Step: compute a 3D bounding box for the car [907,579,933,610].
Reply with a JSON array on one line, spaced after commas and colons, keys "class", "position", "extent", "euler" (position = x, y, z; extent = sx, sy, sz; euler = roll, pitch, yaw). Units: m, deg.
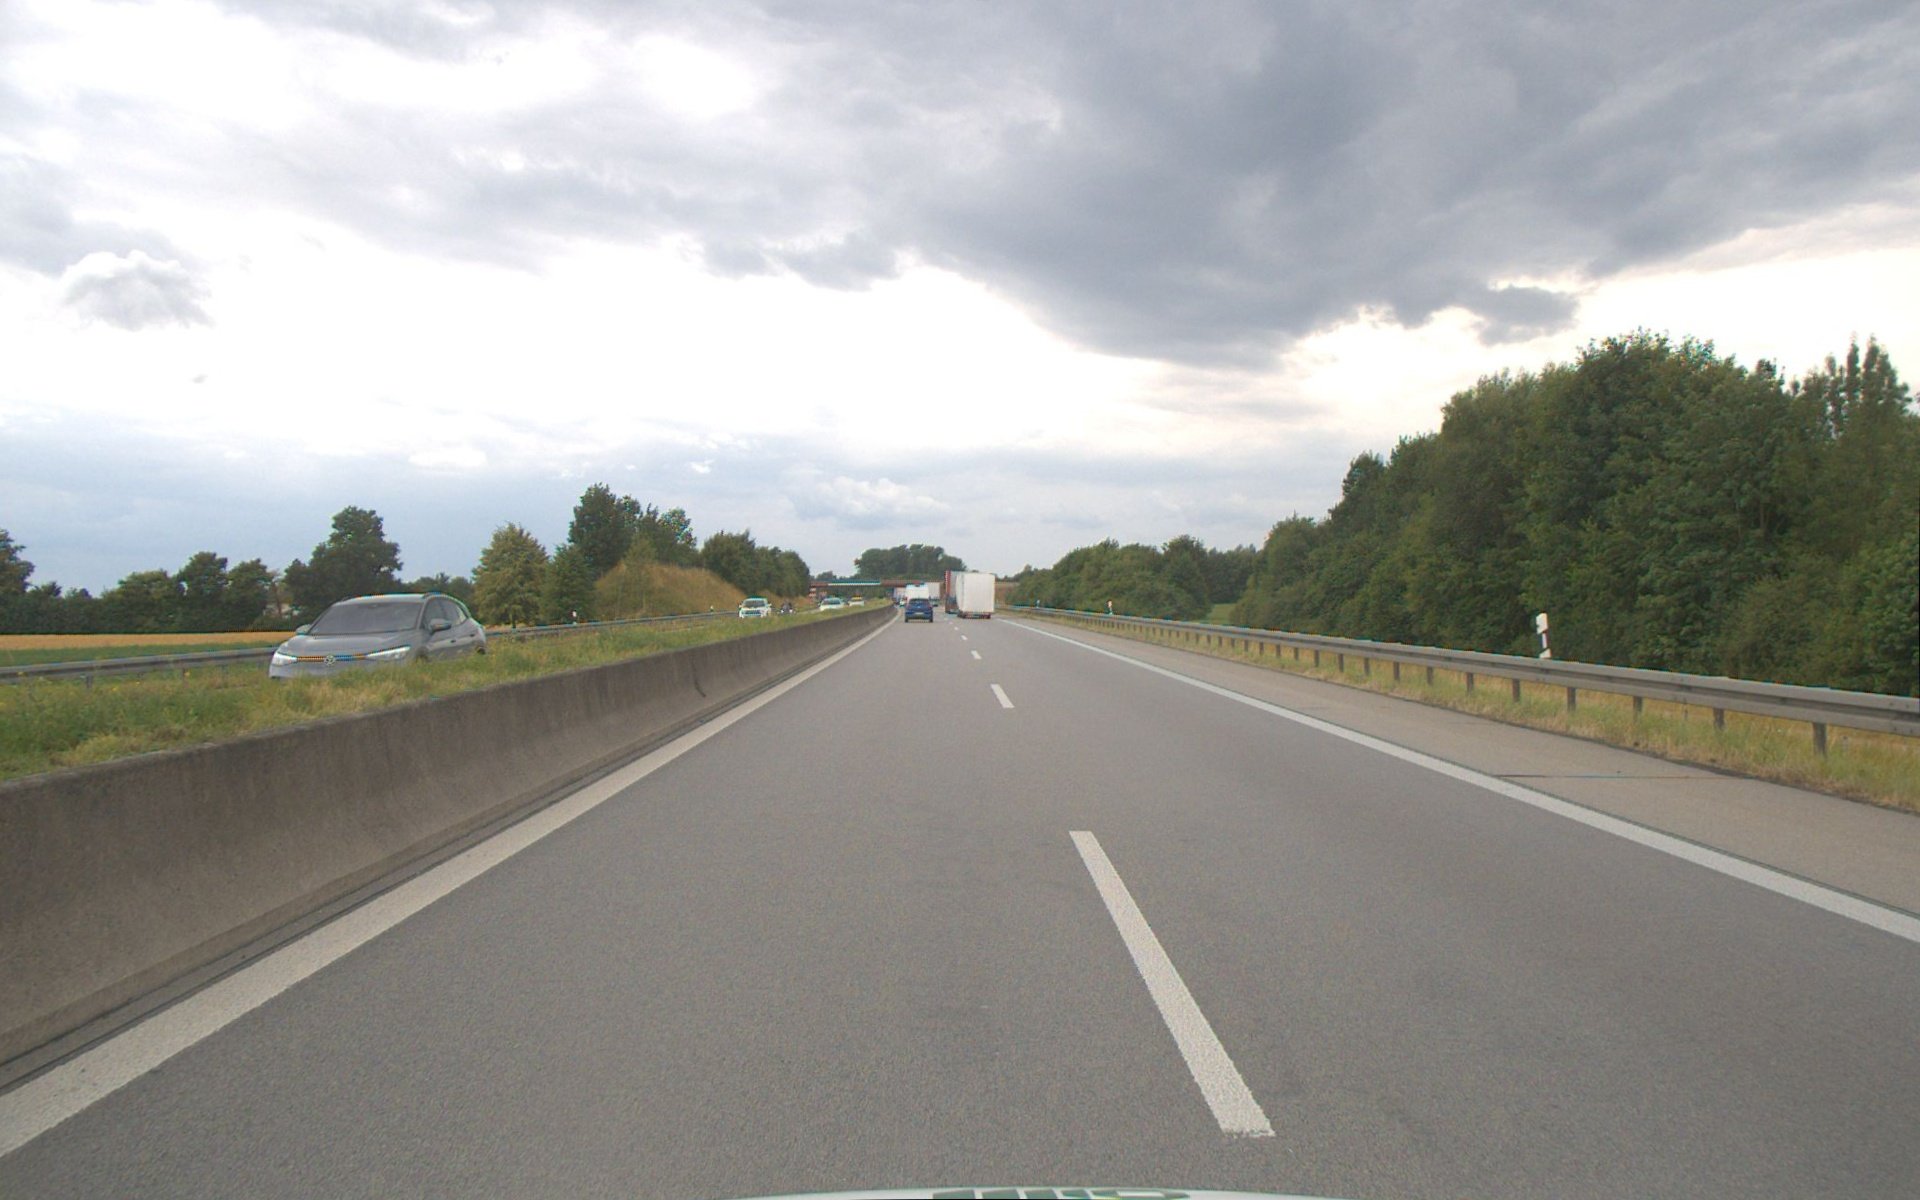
[{"class": "car", "position": [-3.392, -0.436, 138.912], "extent": [2.087, 2.526, 5.837], "euler": [-1, 0, -2]}]

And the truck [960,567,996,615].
[{"class": "truck", "position": [1.240, -0.610, 117.894], "extent": [2.366, 3.278, 7.142], "euler": [0, 0, -1]}]

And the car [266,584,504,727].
[{"class": "car", "position": [-7.818, 0.697, 22.931], "extent": [1.804, 1.724, 4.357], "euler": [-2, 0, -1]}]

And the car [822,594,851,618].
[{"class": "car", "position": [-9.571, 0.484, 128.312], "extent": [1.908, 1.724, 5.173], "euler": [-2, 0, -1]}]

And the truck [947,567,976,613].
[{"class": "truck", "position": [0.090, -0.966, 155.015], "extent": [2.618, 4.116, 11.106], "euler": [-1, 0, 0]}]

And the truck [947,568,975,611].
[{"class": "truck", "position": [0.041, -1.009, 160.428], "extent": [2.619, 4.116, 5.512], "euler": [-1, 0, 0]}]

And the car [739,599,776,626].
[{"class": "car", "position": [-12.884, 0.775, 105.438], "extent": [1.799, 1.654, 4.689], "euler": [-2, 0, -1]}]

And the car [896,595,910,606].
[{"class": "car", "position": [-8.635, 0.045, 249.160], "extent": [1.955, 1.713, 3.996], "euler": [0, 0, -5]}]

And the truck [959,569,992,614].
[{"class": "truck", "position": [1.141, -0.636, 125.079], "extent": [2.380, 3.300, 7.246], "euler": [0, 0, -1]}]

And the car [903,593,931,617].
[{"class": "car", "position": [-2.571, 0.271, 98.475], "extent": [1.630, 1.432, 3.647], "euler": [0, 0, -2]}]
